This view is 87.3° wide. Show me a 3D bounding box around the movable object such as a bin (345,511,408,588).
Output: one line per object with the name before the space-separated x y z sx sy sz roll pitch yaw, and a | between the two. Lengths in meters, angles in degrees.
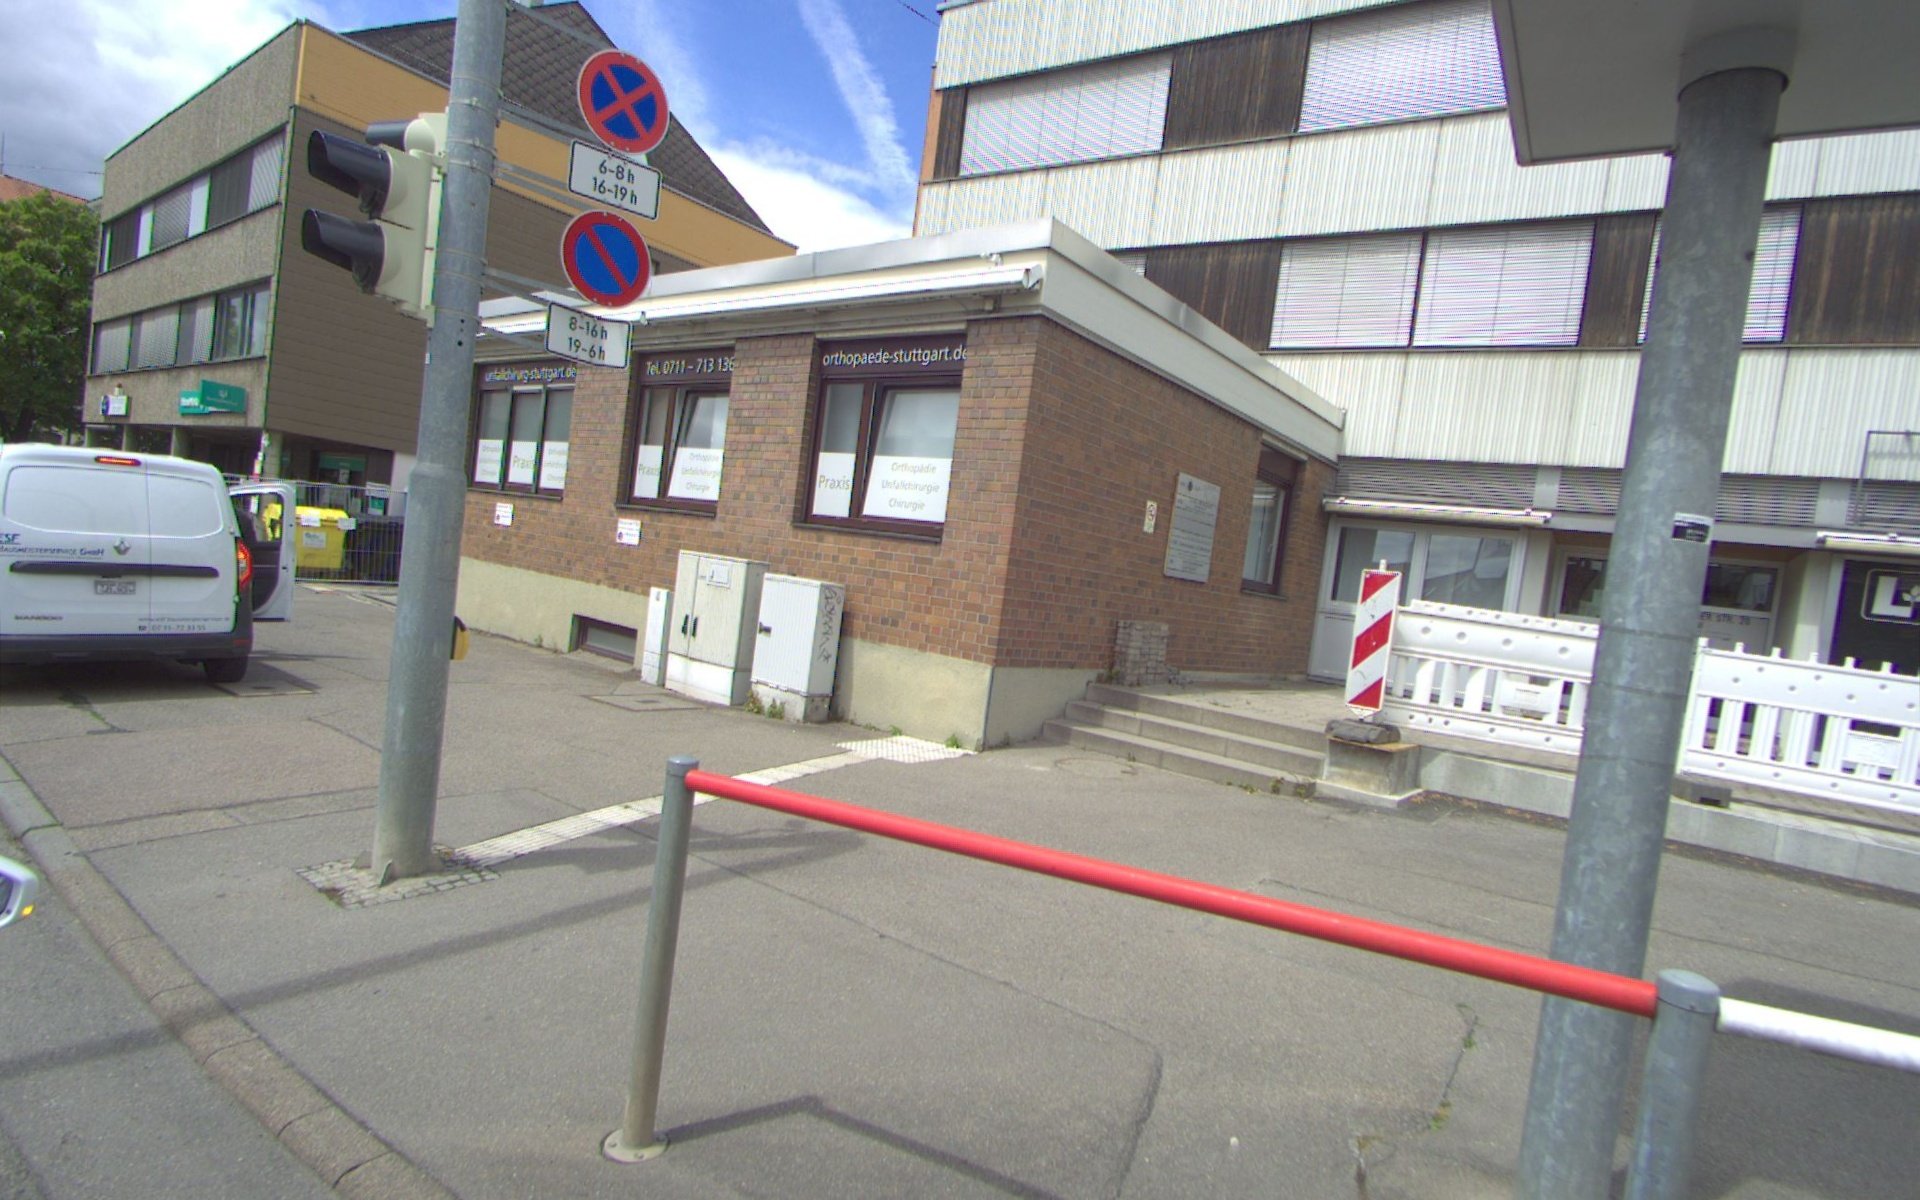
movable object such as a bin | -12.315 -1.066 21.216 1.003 1.459 0.778 10 4 42

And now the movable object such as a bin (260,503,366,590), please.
movable object such as a bin | -13.014 -1.059 20.256 1.061 1.512 1.479 10 4 42

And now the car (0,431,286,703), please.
car | -7.668 -0.387 8.656 4.426 1.819 1.907 7 3 40
